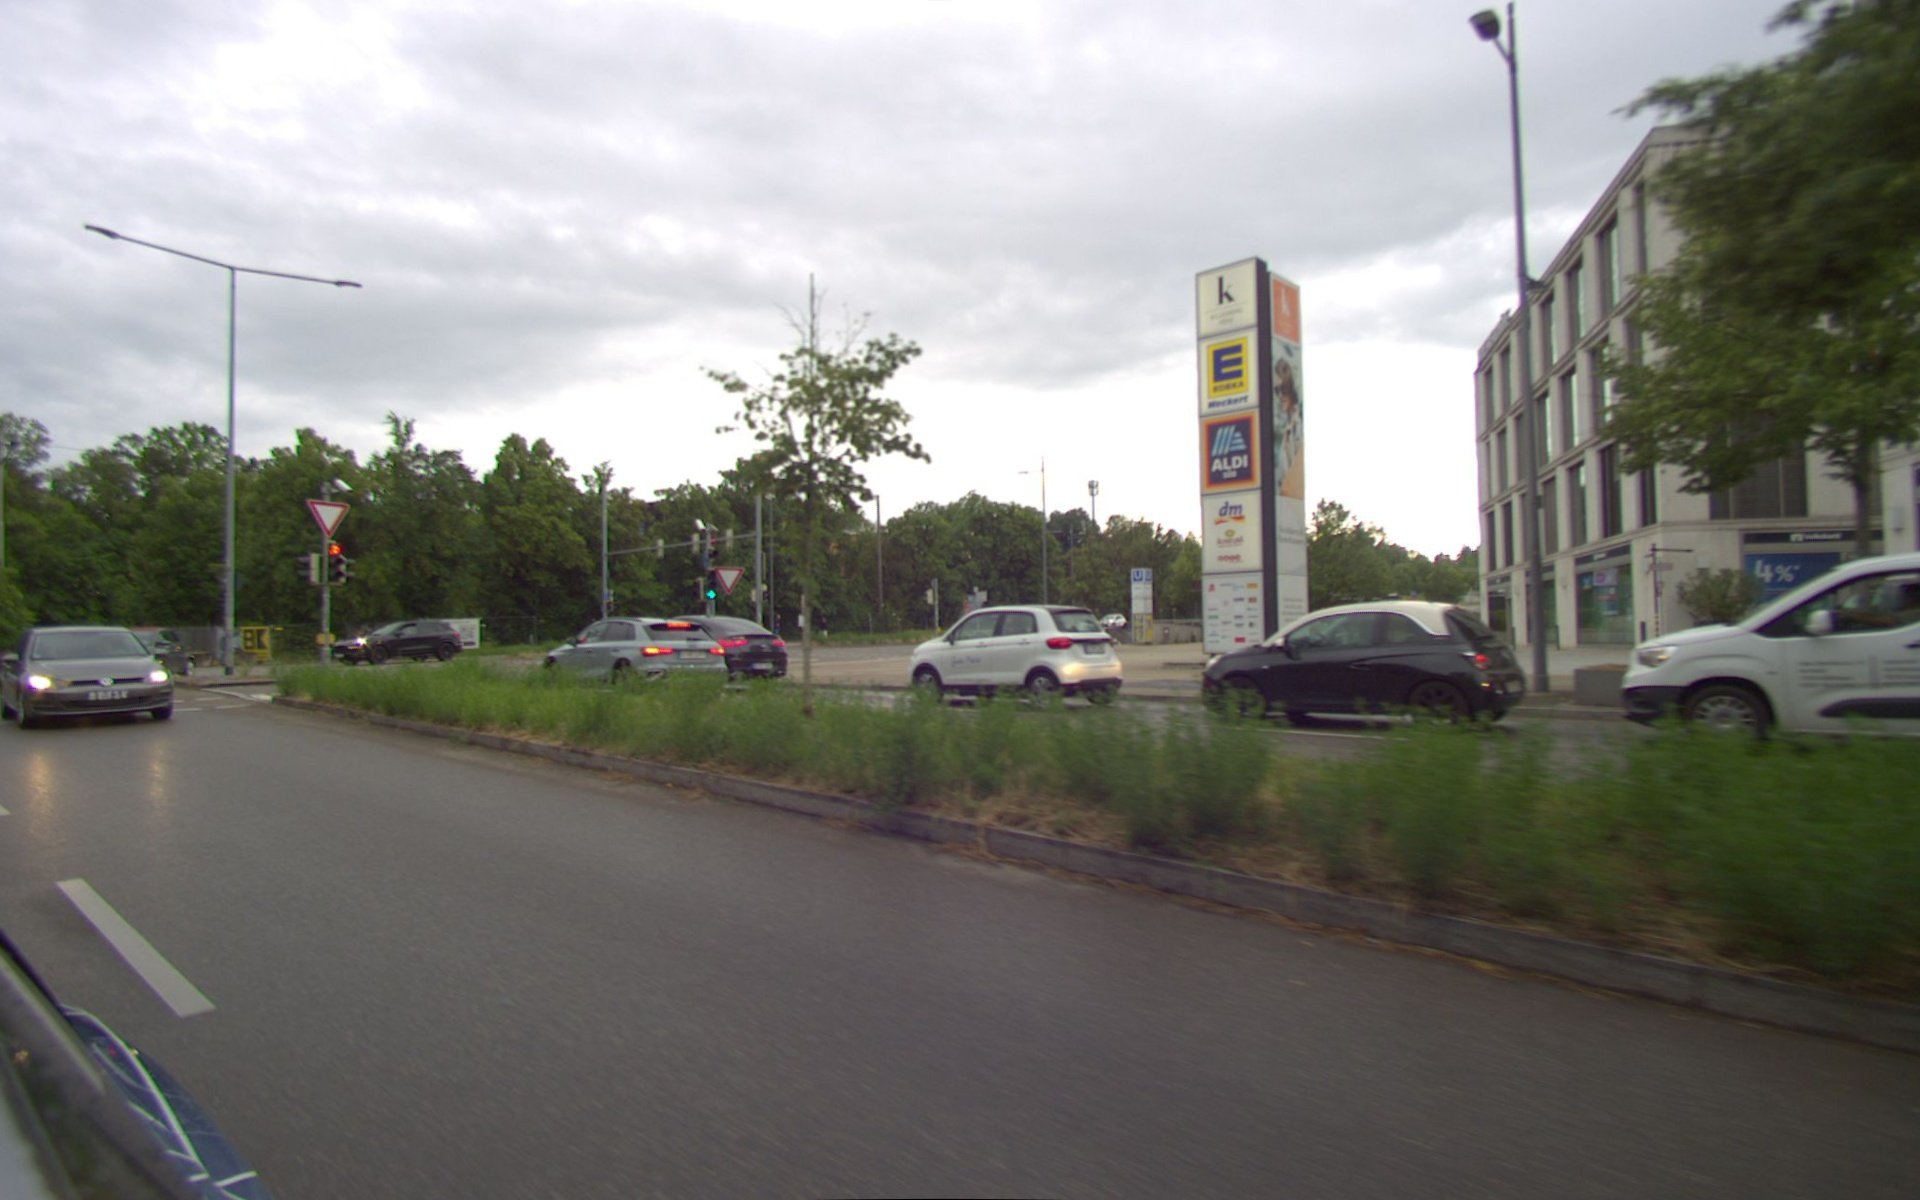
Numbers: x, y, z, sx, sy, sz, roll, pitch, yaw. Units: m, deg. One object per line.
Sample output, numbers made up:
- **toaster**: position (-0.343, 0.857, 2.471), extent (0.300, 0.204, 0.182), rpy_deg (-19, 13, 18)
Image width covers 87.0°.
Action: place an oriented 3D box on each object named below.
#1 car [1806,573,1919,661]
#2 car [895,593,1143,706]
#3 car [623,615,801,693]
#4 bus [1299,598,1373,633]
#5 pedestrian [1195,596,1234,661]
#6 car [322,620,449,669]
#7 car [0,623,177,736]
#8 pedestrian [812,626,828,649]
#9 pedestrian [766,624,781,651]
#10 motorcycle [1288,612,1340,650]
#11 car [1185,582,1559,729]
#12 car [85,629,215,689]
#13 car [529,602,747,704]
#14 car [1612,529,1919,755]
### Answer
- **car**: position (16.343, 0.270, 17.388), extent (1.554, 1.387, 3.278), rpy_deg (-2, -1, 17)
- **car**: position (0.850, 0.798, 16.008), extent (3.701, 1.588, 1.632), rpy_deg (-4, -4, 42)
- **car**: position (-5.463, 1.191, 22.035), extent (4.062, 1.531, 1.806), rpy_deg (-3, -4, 42)
- **bus**: position (34.076, 1.481, 91.516), extent (2.881, 3.012, 9.866), rpy_deg (-2, -2, 42)
- **pedestrian**: position (6.894, 0.767, 27.431), extent (0.669, 1.699, 0.754), rpy_deg (-1, -1, -17)
- **car**: position (-22.684, 1.721, 40.088), extent (1.900, 1.785, 3.959), rpy_deg (-2, -1, 30)
- **car**: position (-13.572, 1.133, 15.644), extent (1.878, 1.450, 4.003), rpy_deg (-1, -1, -44)
- **pedestrian**: position (-10.642, 2.851, 76.792), extent (0.822, 1.688, 0.820), rpy_deg (-3, -2, 42)
- **pedestrian**: position (-13.298, 2.664, 72.177), extent (0.677, 1.898, 0.690), rpy_deg (-3, -2, 42)
- **motorcycle**: position (13.703, 1.213, 39.193), extent (1.752, 1.413, 0.521), rpy_deg (-3, -2, 36)
- **car**: position (4.793, 0.666, 12.101), extent (3.751, 1.471, 1.695), rpy_deg (-4, -4, 44)
- **car**: position (-22.794, 1.613, 28.637), extent (1.643, 1.541, 3.668), rpy_deg (-1, -1, -18)
- **car**: position (-5.819, 0.952, 18.033), extent (4.163, 1.587, 1.829), rpy_deg (-4, -2, 42)
- **car**: position (8.576, 0.313, 8.618), extent (4.773, 1.816, 1.823), rpy_deg (-4, -2, 44)
